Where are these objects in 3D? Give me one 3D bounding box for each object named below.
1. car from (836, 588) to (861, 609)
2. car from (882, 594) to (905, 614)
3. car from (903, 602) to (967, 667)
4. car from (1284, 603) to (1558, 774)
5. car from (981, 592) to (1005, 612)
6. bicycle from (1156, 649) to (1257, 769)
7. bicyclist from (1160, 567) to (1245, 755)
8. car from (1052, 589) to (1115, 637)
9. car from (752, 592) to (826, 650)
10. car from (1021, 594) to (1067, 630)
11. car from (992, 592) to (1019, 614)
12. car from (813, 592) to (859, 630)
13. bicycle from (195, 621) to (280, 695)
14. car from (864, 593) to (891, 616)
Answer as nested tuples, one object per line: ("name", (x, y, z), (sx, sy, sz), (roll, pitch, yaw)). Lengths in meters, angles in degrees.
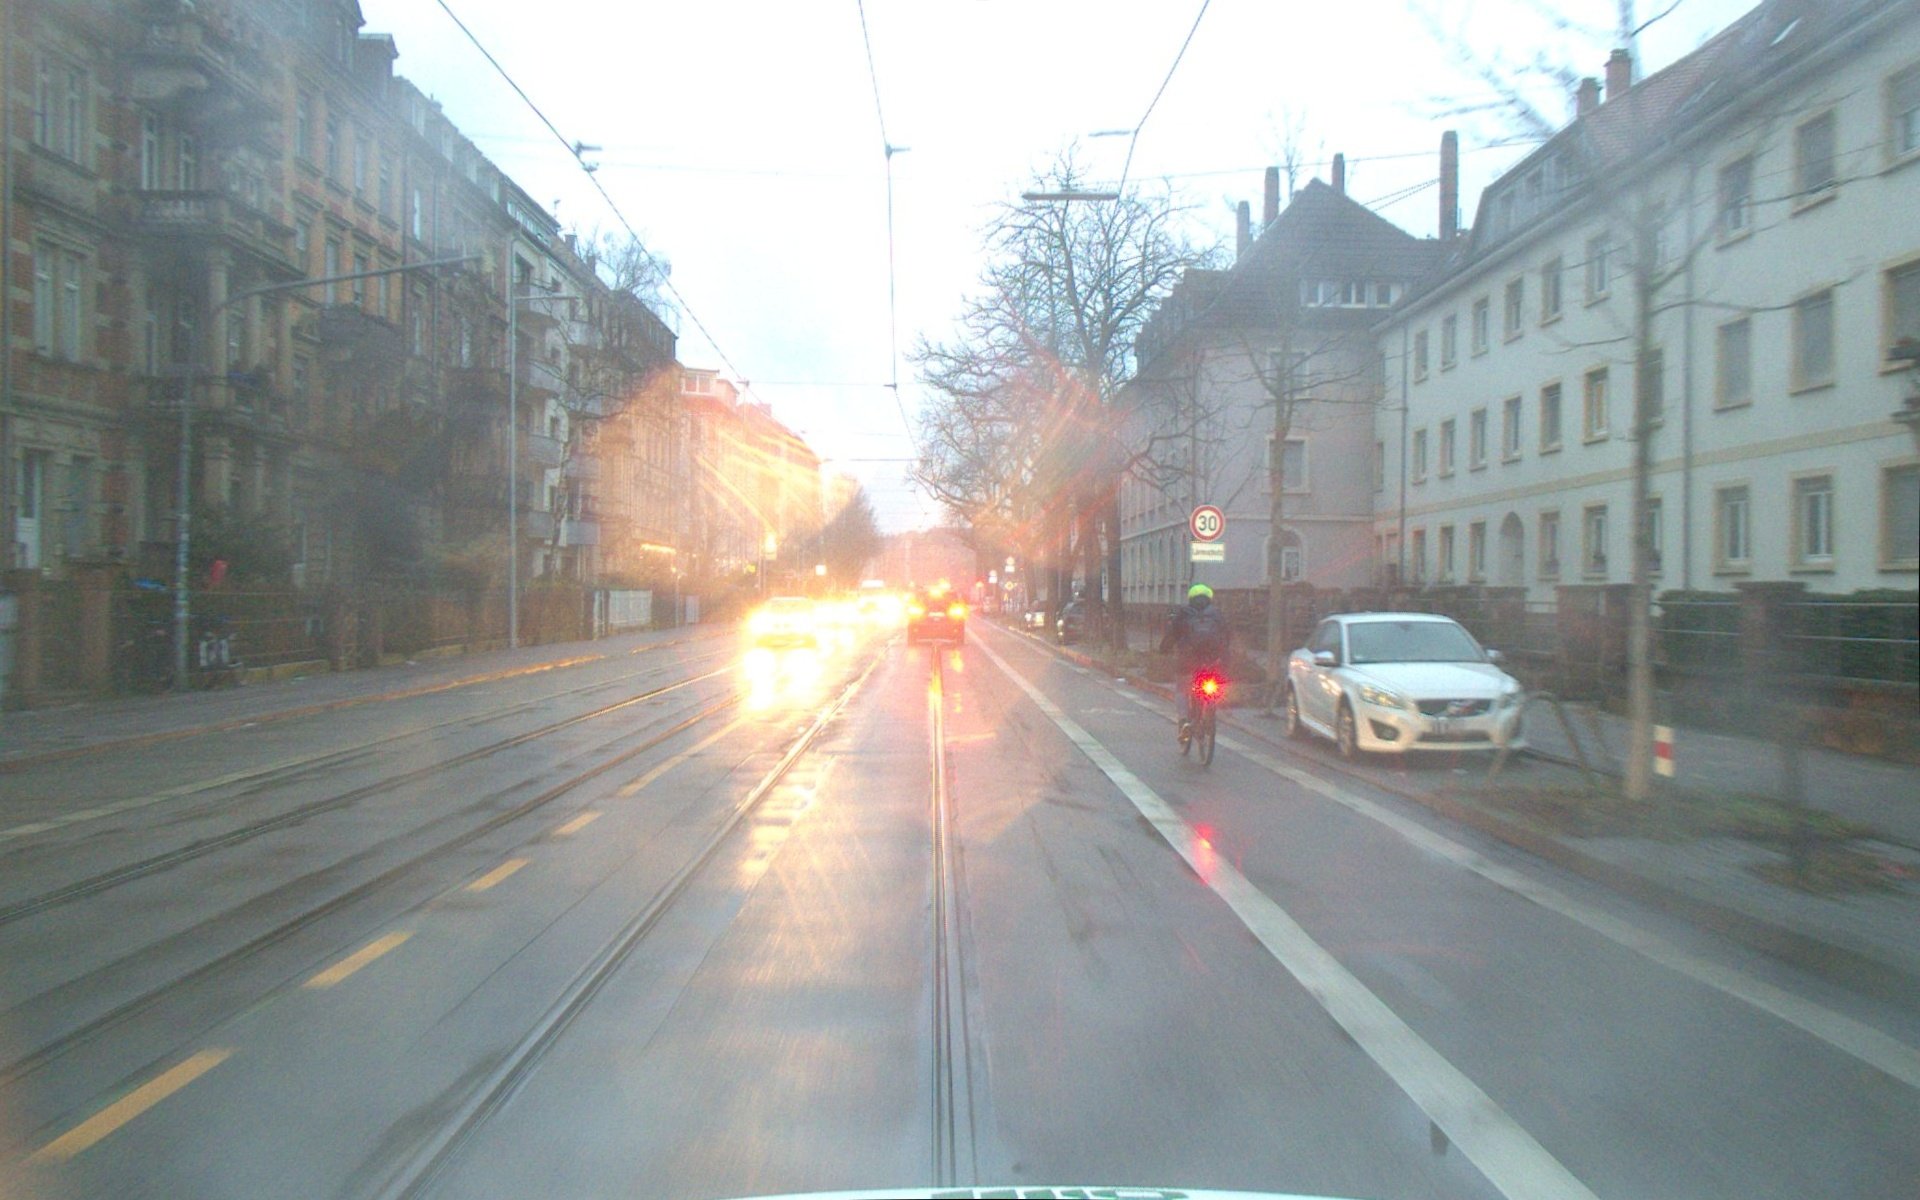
("car", (-9.109, -0.131, 135.218), (1.884, 1.750, 3.999), (0, 0, -1))
("car", (-5.820, 0.350, 144.444), (1.884, 1.691, 3.999), (1, 0, -1))
("car", (-0.778, 1.077, 53.663), (1.764, 1.903, 4.019), (3, 0, 2))
("car", (4.654, 0.818, 17.320), (1.749, 1.536, 4.108), (0, 0, 0))
("car", (2.641, 0.144, 132.200), (1.749, 1.536, 4.108), (0, 0, -1))
("bicycle", (2.338, 1.012, 15.878), (0.716, 1.024, 1.764), (0, 0, 0))
("bicyclist", (2.331, 0.571, 15.976), (0.715, 1.767, 0.765), (0, 0, 0))
("car", (4.099, 0.414, 55.229), (1.749, 1.536, 4.108), (0, 0, -1))
("car", (-5.124, 0.606, 50.107), (1.884, 1.691, 3.999), (0, 0, -1))
("car", (3.700, 0.508, 73.248), (1.749, 1.536, 4.108), (0, 0, -1))
("car", (3.246, 0.225, 118.591), (1.749, 1.536, 4.108), (0, 0, -1))
("car", (-5.726, 0.489, 76.965), (1.884, 1.691, 3.999), (0, 0, -1))
("bicycle", (-10.701, 0.837, 24.551), (0.485, 1.024, 1.764), (0, 0, 0))
("car", (-6.184, 0.316, 124.498), (1.884, 1.691, 3.999), (0, 0, -1))
